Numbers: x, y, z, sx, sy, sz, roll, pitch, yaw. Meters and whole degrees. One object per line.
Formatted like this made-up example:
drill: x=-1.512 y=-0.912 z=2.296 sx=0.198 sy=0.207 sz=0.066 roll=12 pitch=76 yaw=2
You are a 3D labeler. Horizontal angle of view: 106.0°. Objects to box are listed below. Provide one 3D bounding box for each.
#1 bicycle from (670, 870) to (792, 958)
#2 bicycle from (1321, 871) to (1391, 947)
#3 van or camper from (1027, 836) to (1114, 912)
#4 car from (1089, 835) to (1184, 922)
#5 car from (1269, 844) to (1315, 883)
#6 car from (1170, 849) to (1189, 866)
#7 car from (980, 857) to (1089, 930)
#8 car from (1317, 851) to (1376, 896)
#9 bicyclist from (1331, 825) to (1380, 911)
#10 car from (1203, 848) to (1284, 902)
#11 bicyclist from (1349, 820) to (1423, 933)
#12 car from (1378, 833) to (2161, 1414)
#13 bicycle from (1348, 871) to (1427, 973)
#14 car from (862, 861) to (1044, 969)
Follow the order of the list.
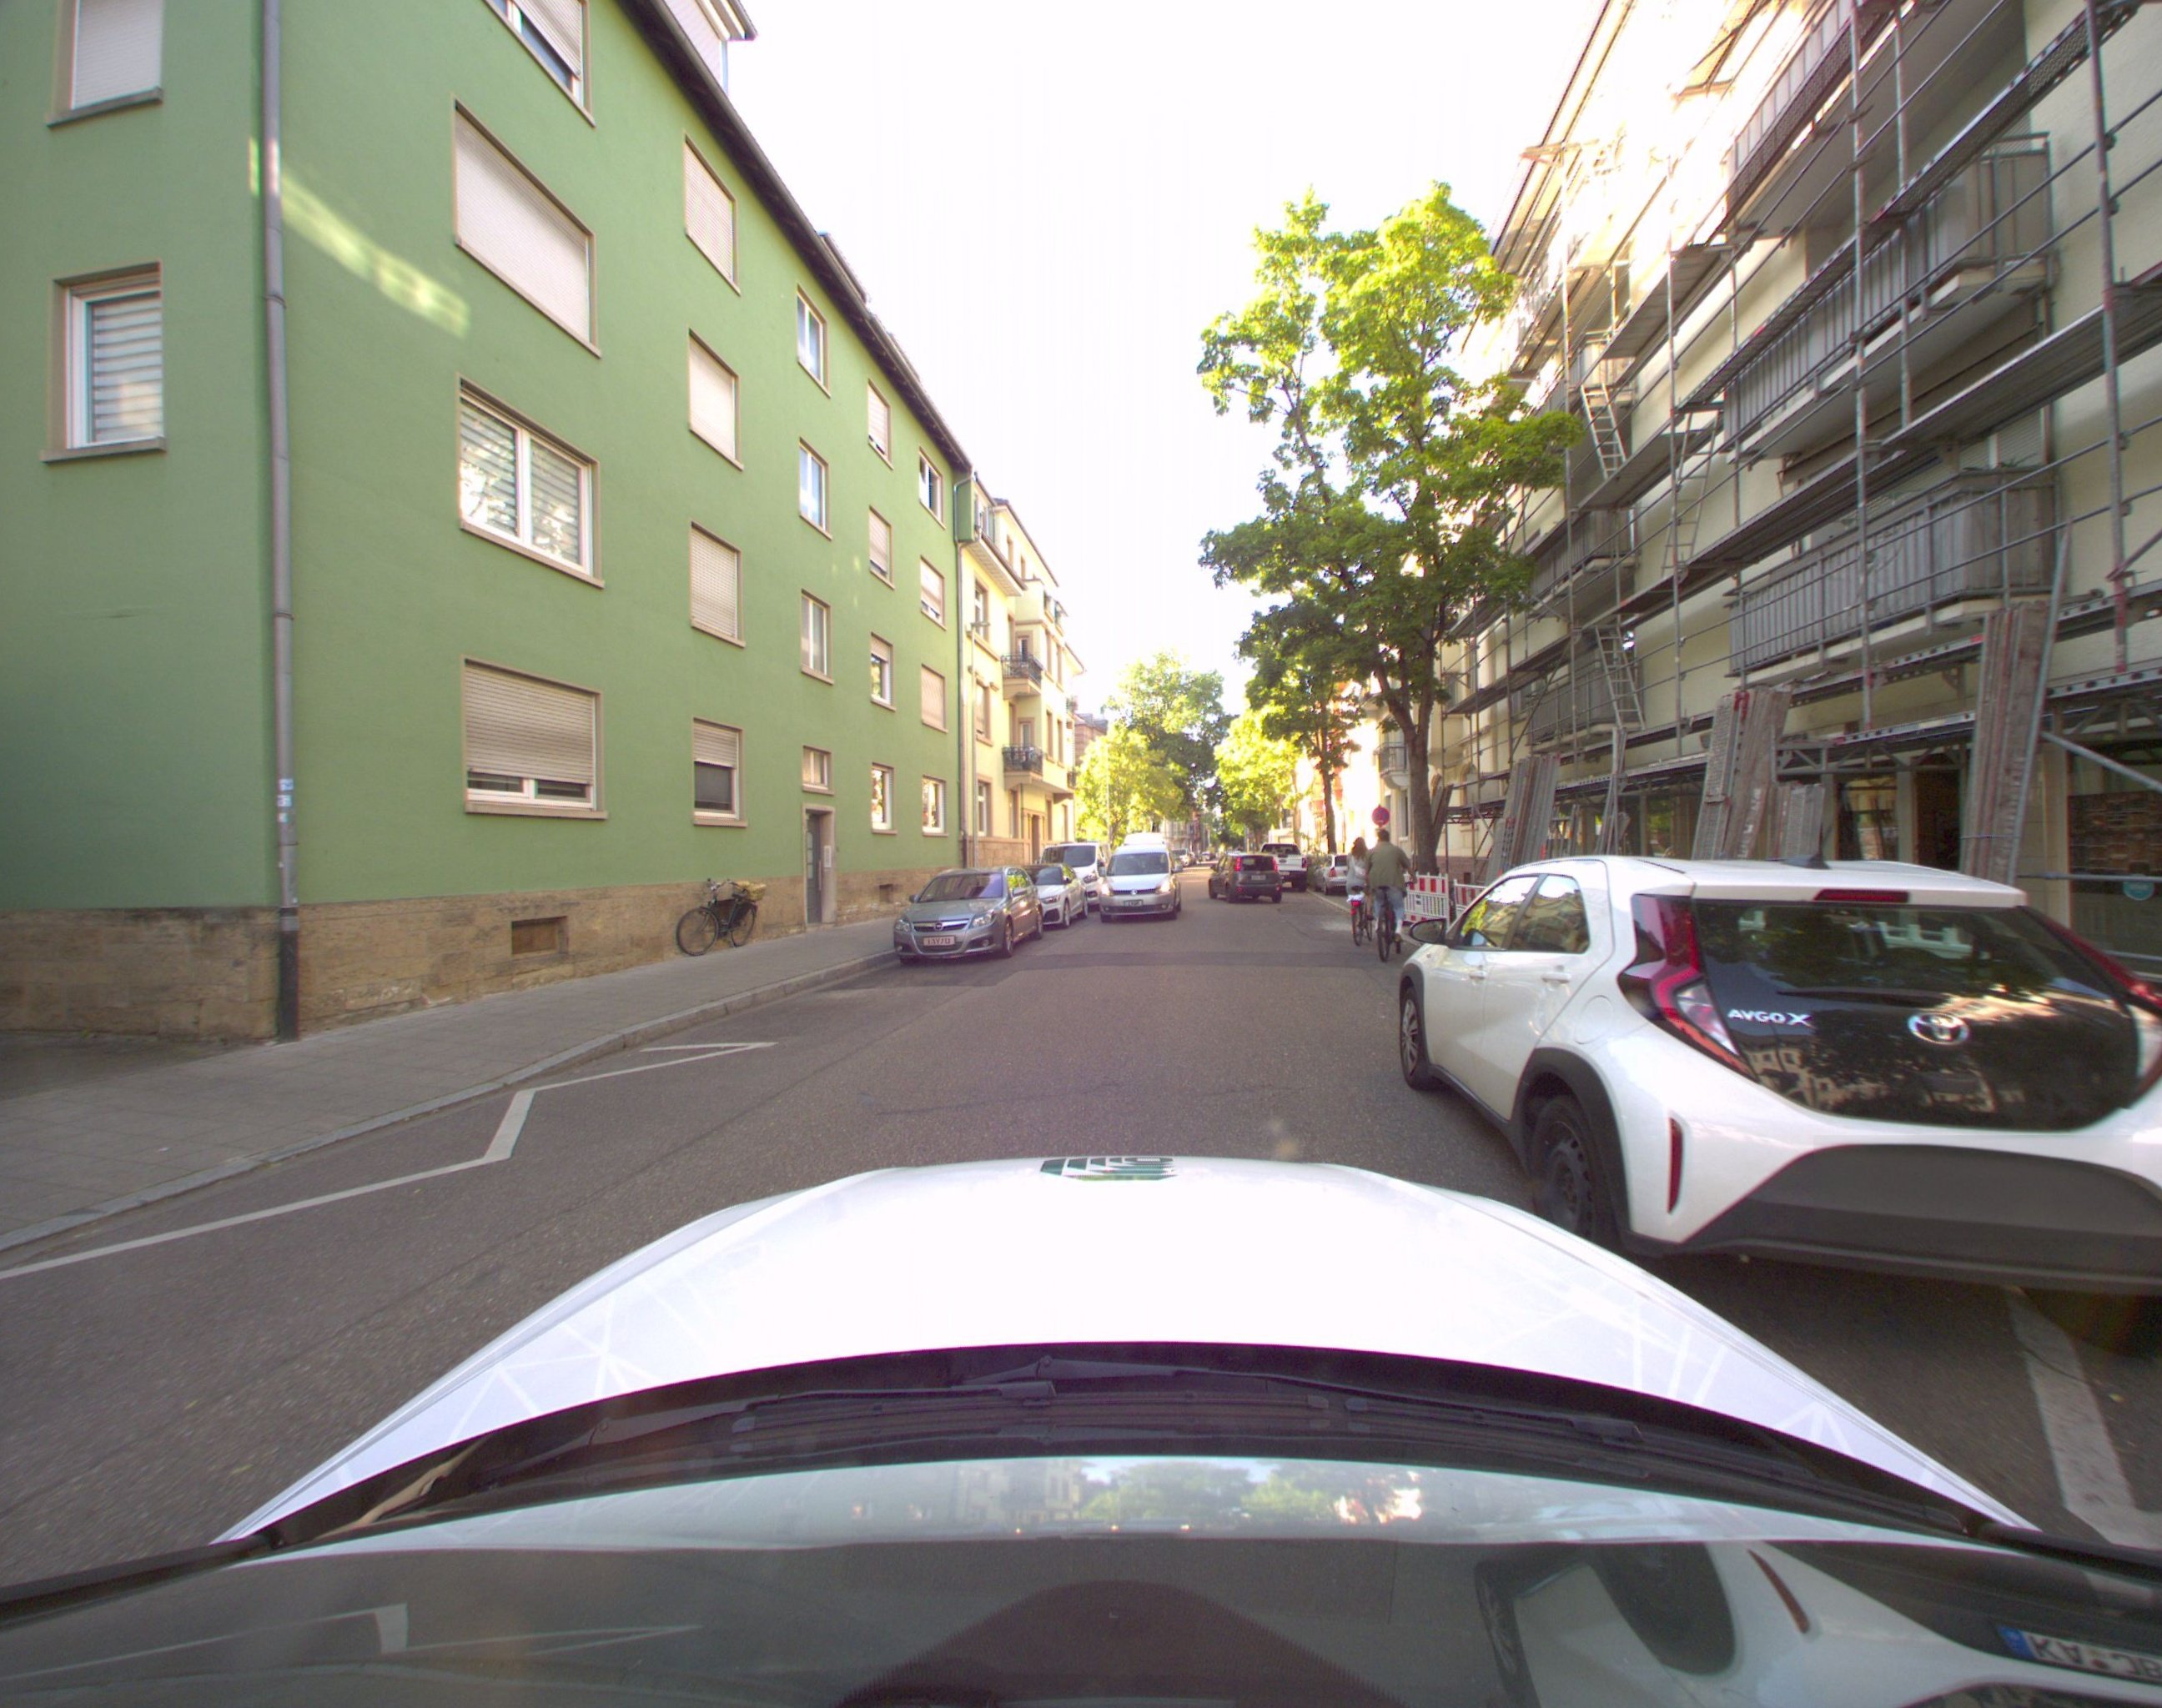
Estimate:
bicycle: x=-5.444 y=0.882 z=12.863 sx=0.547 sy=1.178 sz=2.285 roll=2 pitch=1 yaw=11
bicycle: x=4.691 y=0.878 z=13.778 sx=0.831 sy=1.149 sz=2.245 roll=-1 pitch=-1 yaw=26
van or camper: x=-0.192 y=0.551 z=24.595 sx=1.983 sy=2.013 sz=4.920 roll=-2 pitch=0 yaw=6
car: x=1.480 y=0.549 z=20.164 sx=1.771 sy=1.861 sz=4.211 roll=-2 pitch=0 yaw=11
car: x=10.008 y=0.427 z=38.903 sx=1.677 sy=1.684 sz=4.010 roll=-2 pitch=0 yaw=8
car: x=10.050 y=0.336 z=82.563 sx=1.700 sy=1.607 sz=4.011 roll=-1 pitch=0 yaw=10
car: x=-0.968 y=0.849 z=18.922 sx=1.676 sy=1.453 sz=3.721 roll=-2 pitch=0 yaw=10
car: x=9.143 y=0.624 z=28.256 sx=1.546 sy=1.409 sz=3.391 roll=2 pitch=1 yaw=11
bicyclist: x=4.588 y=0.255 z=13.593 sx=0.617 sy=1.381 sz=0.873 roll=-3 pitch=-5 yaw=25
car: x=4.963 y=0.609 z=25.292 sx=1.554 sy=1.533 sz=3.480 roll=-1 pitch=0 yaw=-5
bicyclist: x=4.431 y=0.338 z=11.807 sx=0.873 sy=1.562 sz=0.873 roll=-3 pitch=-4 yaw=25
car: x=2.621 y=0.714 z=3.951 sx=1.664 sy=1.545 sz=3.413 roll=0 pitch=0 yaw=10
bicycle: x=4.448 y=0.905 z=11.721 sx=0.832 sy=1.149 sz=2.246 roll=5 pitch=3 yaw=25
car: x=-1.970 y=0.910 z=13.910 sx=1.968 sy=1.455 sz=4.121 roll=-2 pitch=0 yaw=6
